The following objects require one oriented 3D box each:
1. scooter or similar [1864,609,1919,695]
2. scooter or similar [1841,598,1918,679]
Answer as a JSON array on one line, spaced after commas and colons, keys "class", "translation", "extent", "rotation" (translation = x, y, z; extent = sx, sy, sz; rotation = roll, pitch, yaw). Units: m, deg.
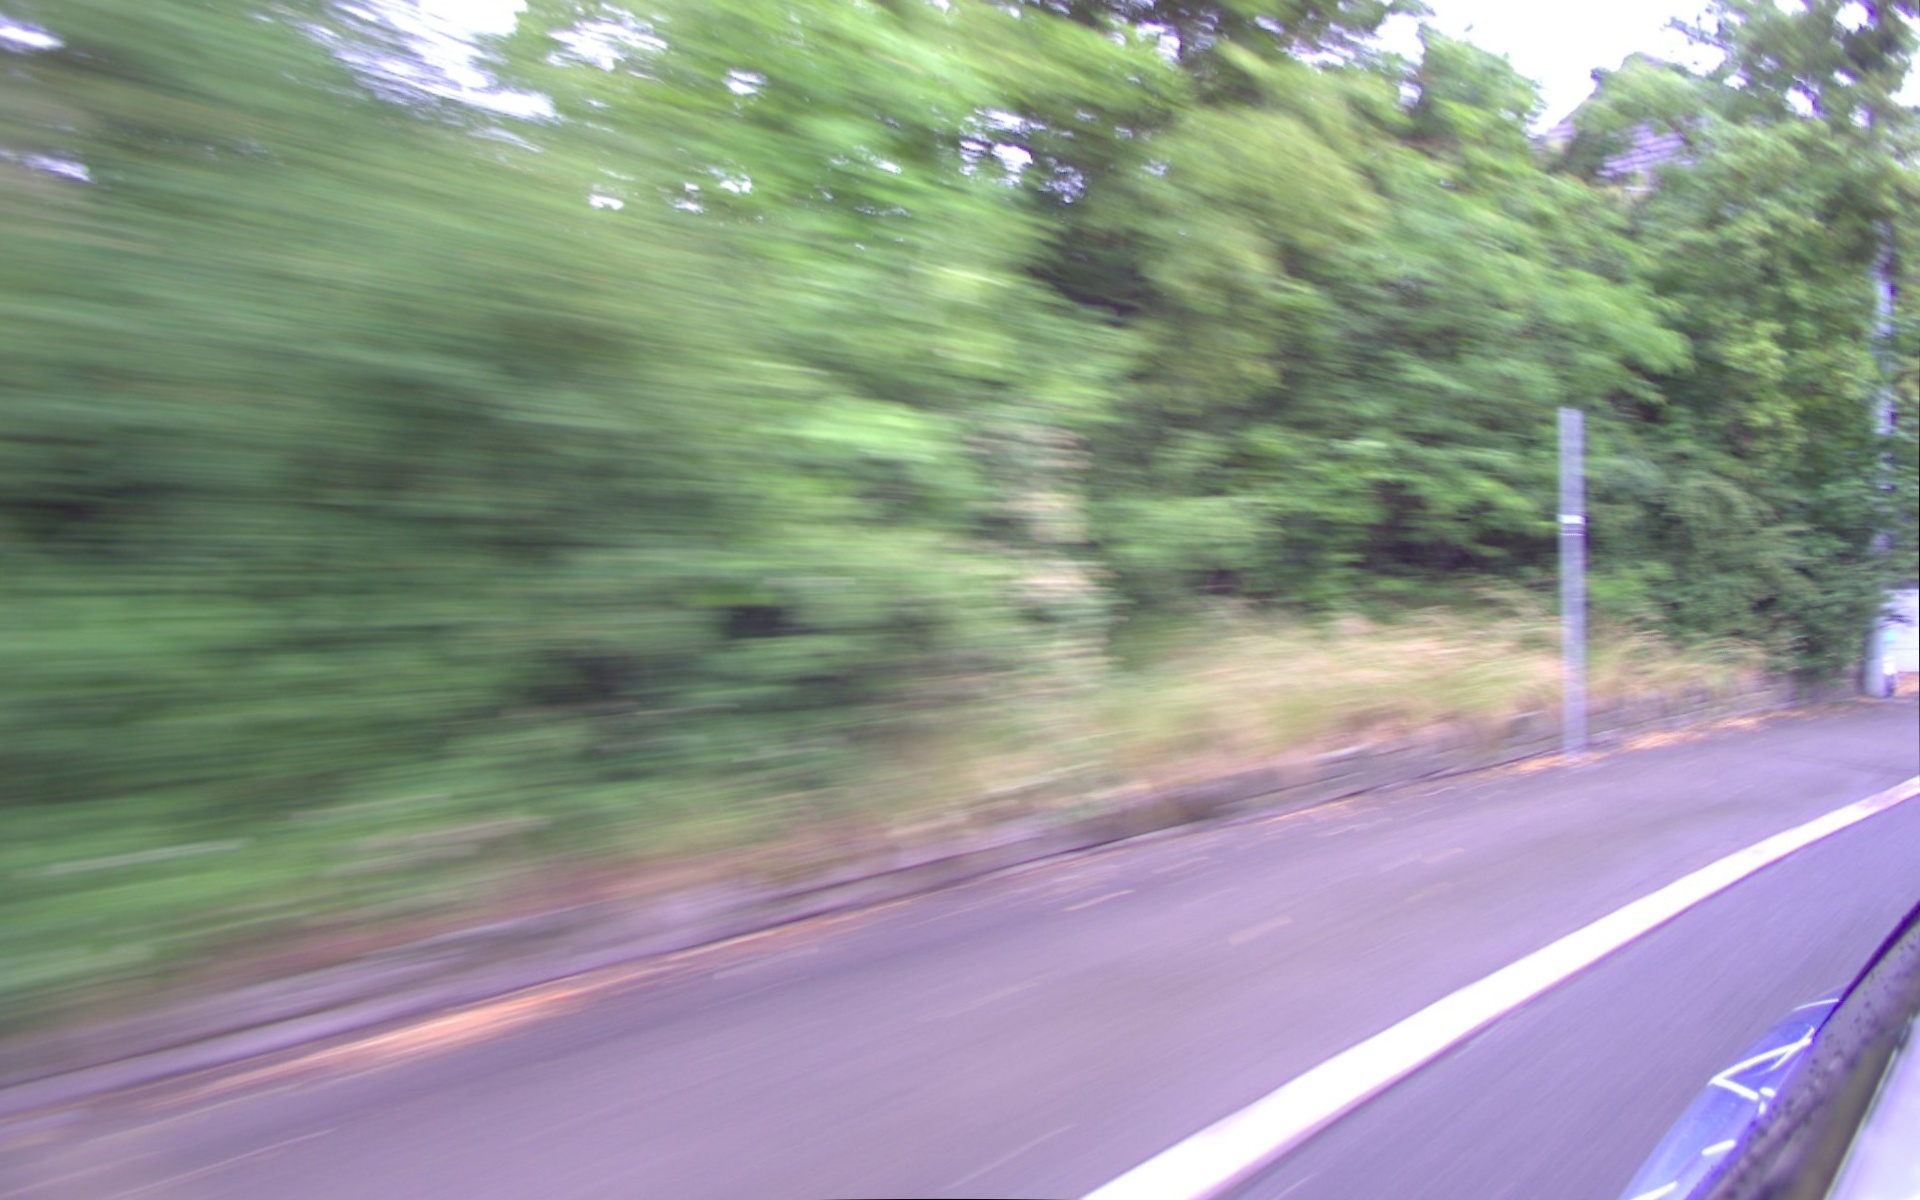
[{"class": "scooter or similar", "translation": [13.410, 0.727, 14.553], "extent": [1.397, 1.130, 0.347], "rotation": [-1, 4, -40]}, {"class": "scooter or similar", "translation": [14.695, 0.596, 16.198], "extent": [0.343, 1.130, 1.412], "rotation": [7, 6, 23]}]
